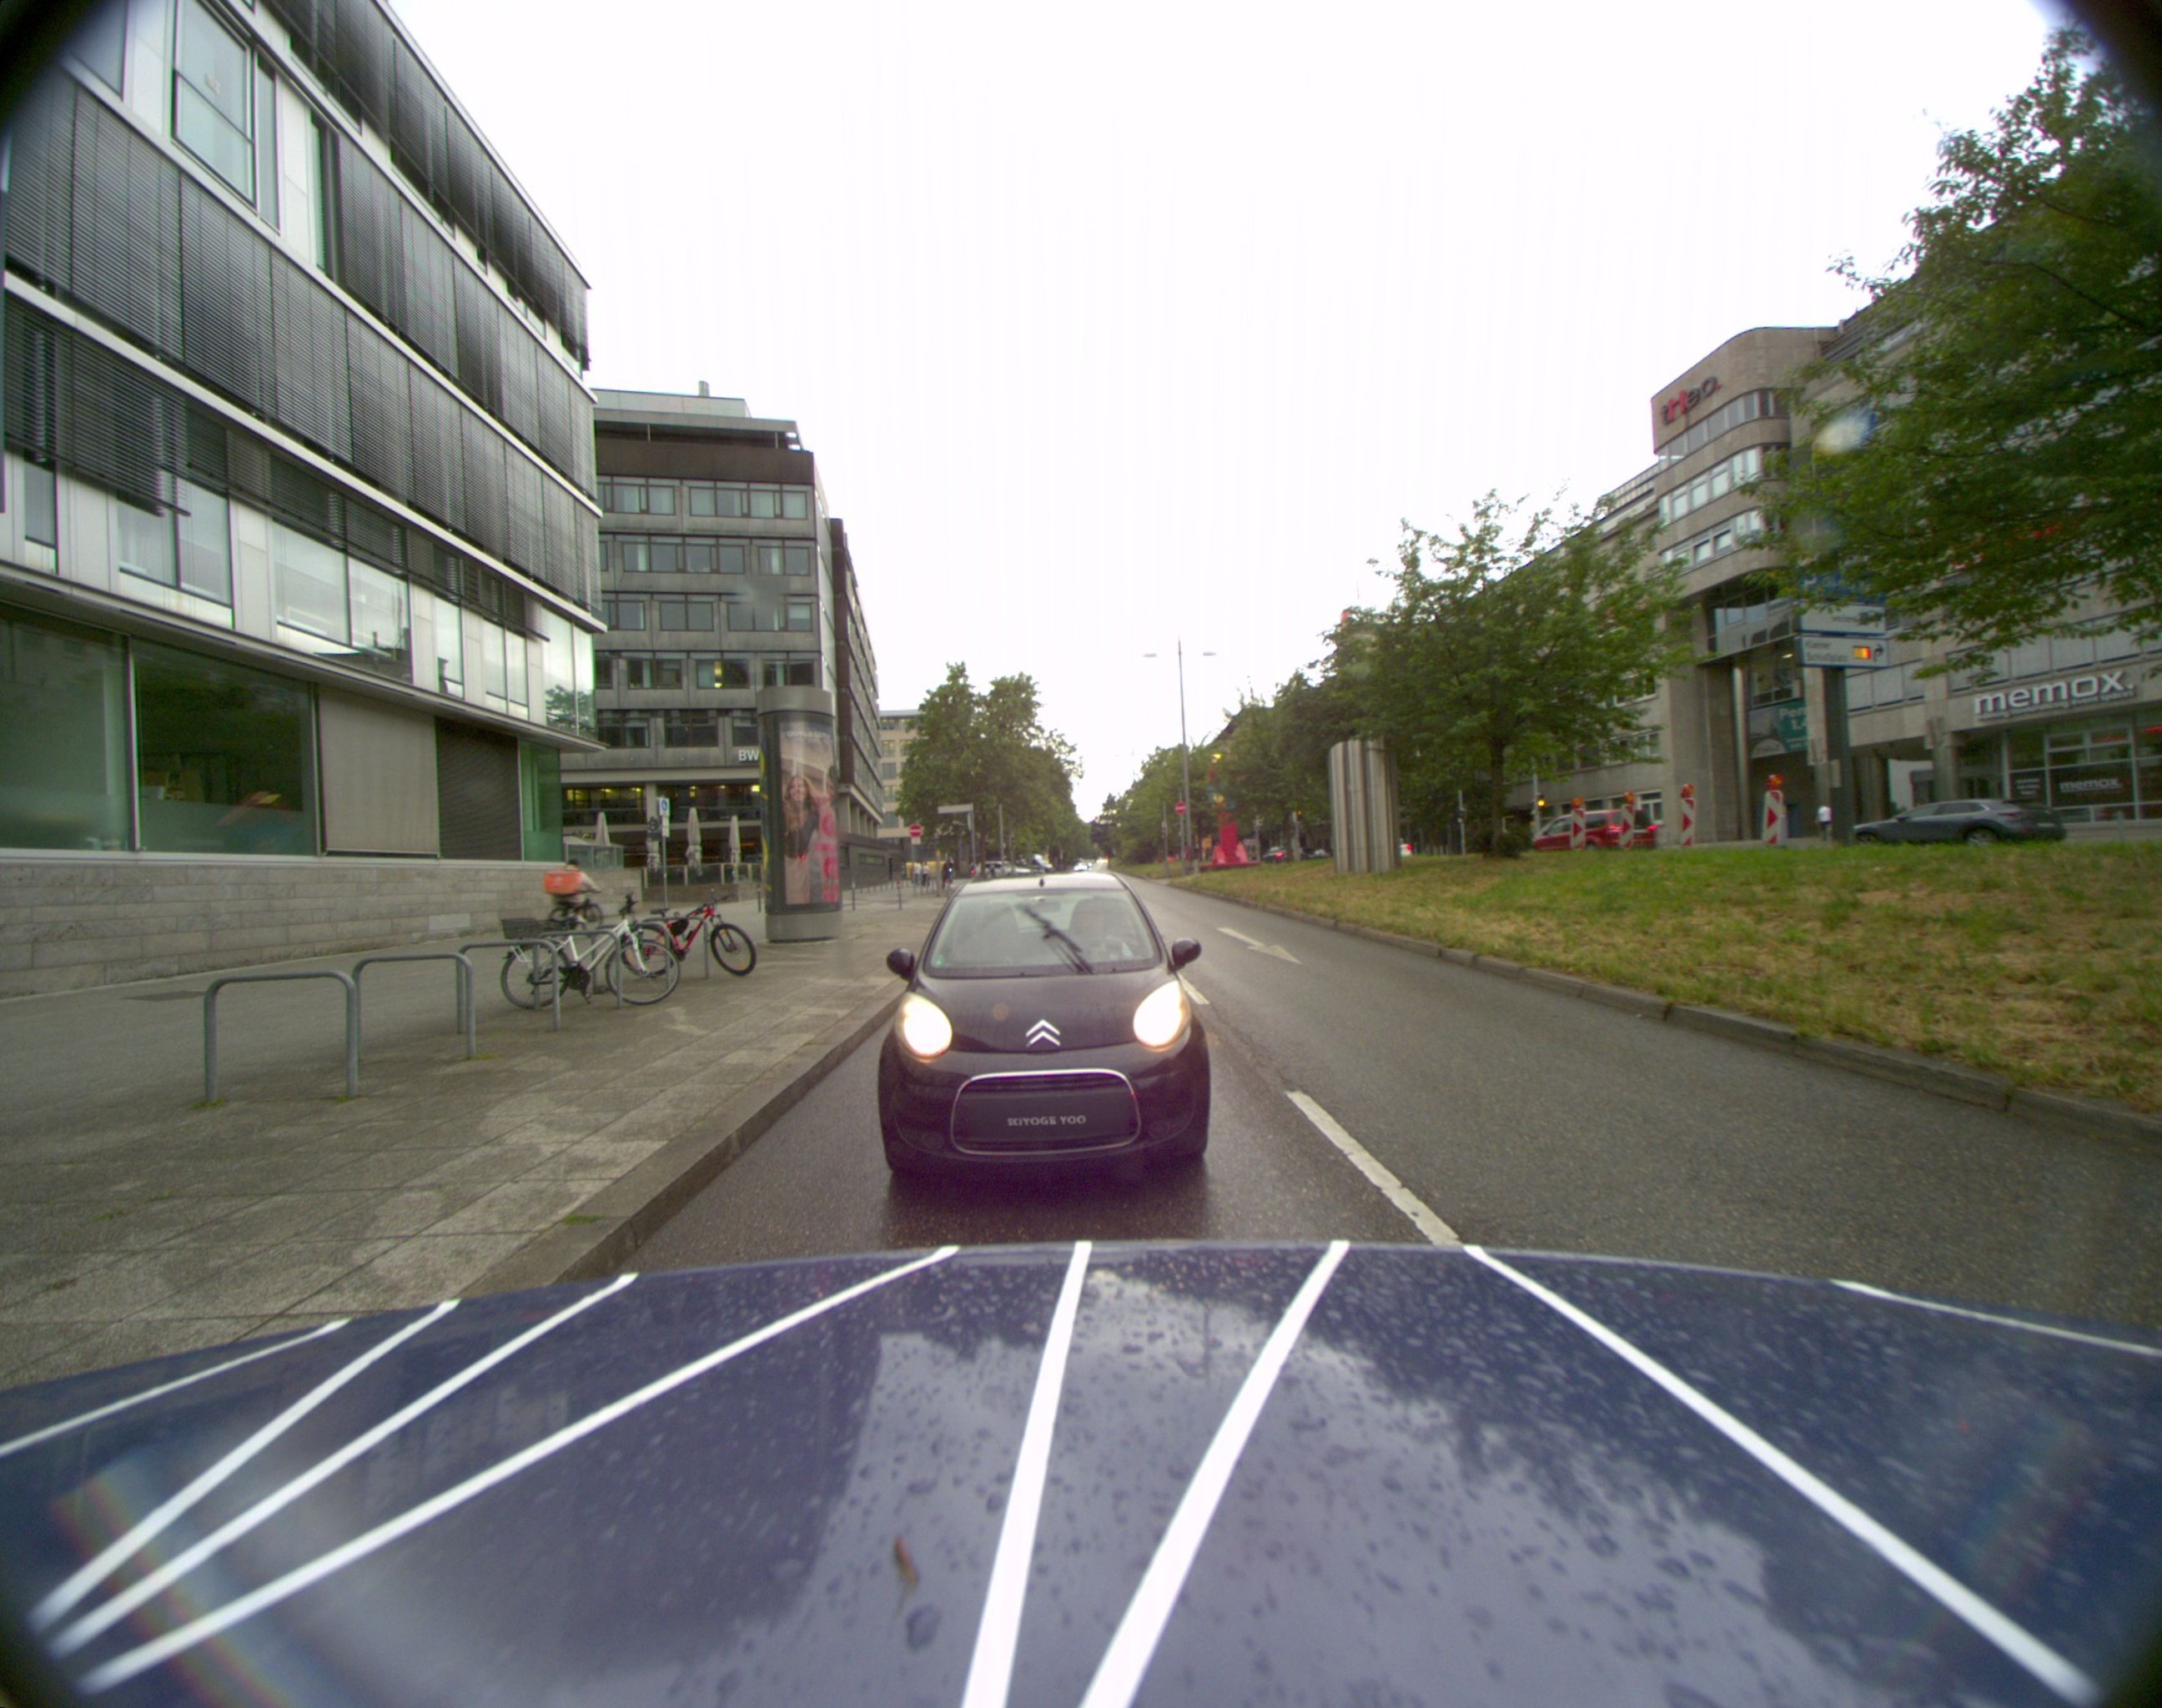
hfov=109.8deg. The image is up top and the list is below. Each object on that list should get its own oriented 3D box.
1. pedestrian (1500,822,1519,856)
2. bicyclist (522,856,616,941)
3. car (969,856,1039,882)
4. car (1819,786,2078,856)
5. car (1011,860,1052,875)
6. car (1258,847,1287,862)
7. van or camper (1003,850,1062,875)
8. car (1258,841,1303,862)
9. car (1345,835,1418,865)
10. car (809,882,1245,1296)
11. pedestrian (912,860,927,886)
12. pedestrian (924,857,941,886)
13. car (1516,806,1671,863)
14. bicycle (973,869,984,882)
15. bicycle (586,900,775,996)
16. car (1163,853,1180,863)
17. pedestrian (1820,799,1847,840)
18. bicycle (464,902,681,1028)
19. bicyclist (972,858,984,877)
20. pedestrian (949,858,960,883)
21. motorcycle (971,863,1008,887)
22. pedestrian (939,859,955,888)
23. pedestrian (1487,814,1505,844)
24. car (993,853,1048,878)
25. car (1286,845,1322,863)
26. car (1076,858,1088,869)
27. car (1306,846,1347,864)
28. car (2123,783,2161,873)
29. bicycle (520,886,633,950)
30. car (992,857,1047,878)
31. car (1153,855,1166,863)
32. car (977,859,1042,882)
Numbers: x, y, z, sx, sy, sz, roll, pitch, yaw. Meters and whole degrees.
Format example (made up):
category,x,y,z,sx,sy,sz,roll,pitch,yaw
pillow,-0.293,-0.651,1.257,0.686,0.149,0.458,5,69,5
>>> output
category,x,y,z,sx,sy,sz,roll,pitch,yaw
pedestrian,23.251,-0.809,41.269,0.529,1.777,0.721,-3,0,1
bicyclist,-10.367,0.865,15.443,1.014,1.573,1.135,-5,1,-4
car,-5.641,1.100,55.612,4.792,1.640,1.920,-4,0,30
car,24.741,-0.851,22.023,1.867,1.715,4.791,-2,0,-3
car,-5.383,1.443,82.706,4.052,1.415,1.711,-4,0,29
car,20.539,0.075,81.652,1.791,1.478,4.574,-2,0,-3
van or camper,-5.520,1.010,86.372,6.250,2.432,2.319,-4,0,30
car,15.367,-0.193,58.782,1.873,1.466,3.997,-3,0,-8
car,16.390,-0.213,41.696,1.825,1.466,4.190,-3,0,-8
car,-0.256,0.986,4.901,1.634,1.408,3.834,-3,0,-2
pedestrian,-11.618,1.350,54.687,0.803,1.857,0.898,-3,0,0
pedestrian,-10.708,1.237,54.821,0.851,2.027,0.753,-3,0,7
car,17.362,-0.607,26.072,1.730,1.717,4.579,-3,0,-8
bicycle,-9.643,1.986,71.806,0.777,1.132,1.978,-6,0,-3
bicycle,-5.134,1.197,9.819,1.988,1.097,0.808,-2,0,4
car,13.767,0.613,115.979,1.866,1.421,4.132,-2,0,-2
pedestrian,34.405,-1.579,34.741,0.722,1.777,0.528,-3,0,-21
bicycle,-5.296,1.142,7.967,1.840,1.190,0.660,-1,0,4
bicyclist,-9.704,1.266,71.629,0.812,1.739,1.079,-6,2,-3
pedestrian,-10.053,1.313,60.345,0.721,1.873,0.656,-3,0,-6
motorcycle,-5.542,1.284,46.059,2.087,1.349,0.677,-3,0,7
pedestrian,-7.772,1.125,44.057,0.722,1.675,0.528,-3,0,-17
pedestrian,23.067,-1.382,42.256,0.607,1.619,0.620,-3,0,1
car,-5.535,1.056,69.259,4.507,1.981,1.925,-4,0,29
car,21.081,-0.005,72.106,1.867,1.612,4.467,-2,0,-3
car,0.140,1.521,123.490,1.791,1.736,4.574,-2,0,-3
car,21.521,0.103,66.742,1.867,1.421,4.565,-2,0,-3
car,19.118,-0.499,11.220,1.810,1.477,3.998,-5,0,-6
bicycle,-10.353,1.284,15.709,1.011,1.107,2.066,-2,1,-4
car,-5.371,1.196,66.378,4.381,1.528,1.919,-4,0,27
car,14.683,0.869,141.922,1.866,1.421,4.566,-2,0,-1
car,-5.575,1.263,58.780,4.711,1.465,1.920,-4,0,32
